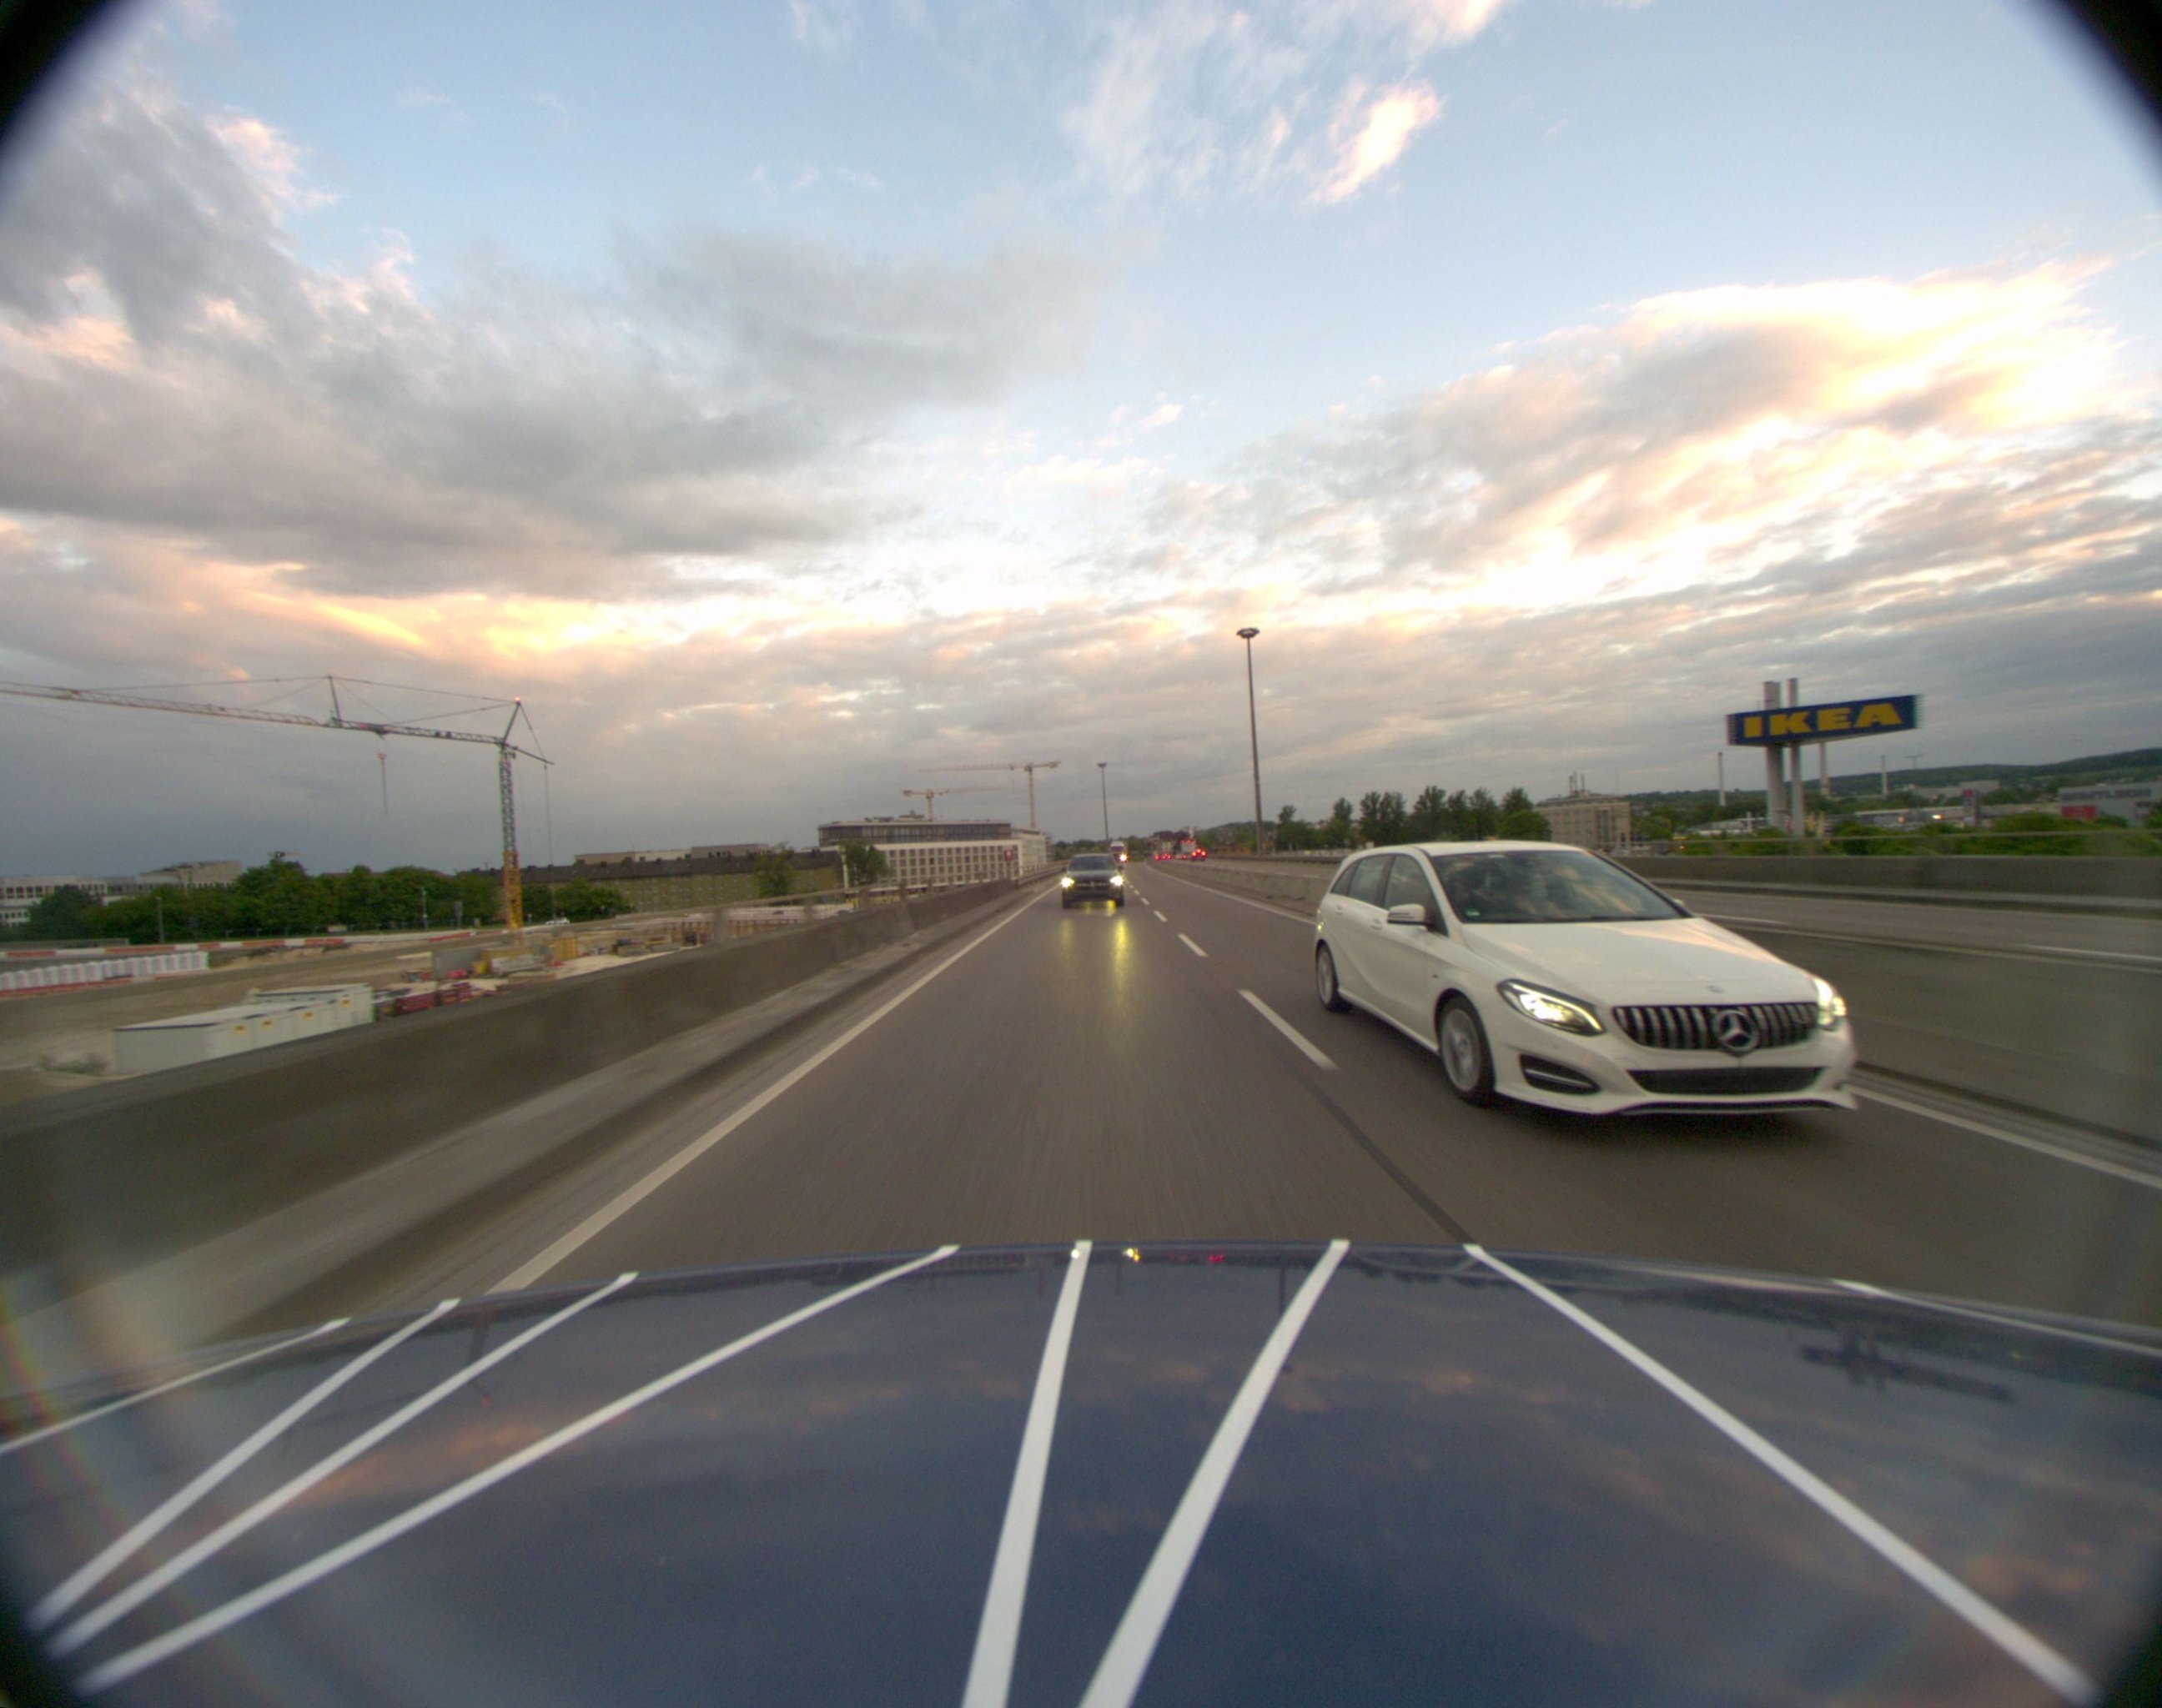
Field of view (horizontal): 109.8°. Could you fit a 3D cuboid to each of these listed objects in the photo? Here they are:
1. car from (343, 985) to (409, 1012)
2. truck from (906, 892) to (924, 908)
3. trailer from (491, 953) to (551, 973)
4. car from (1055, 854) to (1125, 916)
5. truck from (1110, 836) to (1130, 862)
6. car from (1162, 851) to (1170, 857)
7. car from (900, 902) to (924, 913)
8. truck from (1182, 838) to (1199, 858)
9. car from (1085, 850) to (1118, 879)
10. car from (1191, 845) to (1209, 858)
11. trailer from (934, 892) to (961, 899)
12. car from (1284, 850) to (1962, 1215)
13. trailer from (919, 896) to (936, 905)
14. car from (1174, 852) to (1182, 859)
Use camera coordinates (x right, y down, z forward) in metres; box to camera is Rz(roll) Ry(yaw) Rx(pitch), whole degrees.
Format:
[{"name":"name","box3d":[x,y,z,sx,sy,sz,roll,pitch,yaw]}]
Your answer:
[{"name":"car","box3d":[-61.983,12.723,66.859,1.526,1.433,3.802,-9,0,30]},{"name":"truck","box3d":[-35.315,9.777,161.714,2.163,2.930,7.337,-5,-1,0]},{"name":"trailer","box3d":[-54.294,10.570,73.685,1.780,1.233,4.259,-5,0,30]},{"name":"car","box3d":[0.354,0.824,22.167,1.823,1.602,4.214,-2,0,3]},{"name":"truck","box3d":[7.182,-0.916,139.166,3.164,4.369,8.796,-2,0,5]},{"name":"car","box3d":[21.029,-0.026,187.900,1.632,1.432,3.837,-2,-1,3]},{"name":"car","box3d":[-30.694,9.655,137.651,3.787,1.729,1.647,-4,1,18]},{"name":"truck","box3d":[18.987,-1.125,132.247,2.540,3.278,7.449,-2,1,6]},{"name":"car","box3d":[1.255,0.665,46.886,1.891,1.641,4.345,-3,-1,2]},{"name":"car","box3d":[16.464,-0.362,105.119,1.981,1.596,4.442,-2,0,4]},{"name":"trailer","box3d":[-30.715,9.533,174.530,5.875,1.340,2.024,-3,1,-14]},{"name":"car","box3d":[2.999,0.810,5.708,1.695,1.528,4.784,-2,-1,1]},{"name":"trailer","box3d":[-34.186,10.374,169.312,1.998,1.339,5.875,-8,-1,5]},{"name":"car","box3d":[23.173,0.408,181.493,1.835,1.494,4.818,-2,0,5]}]
